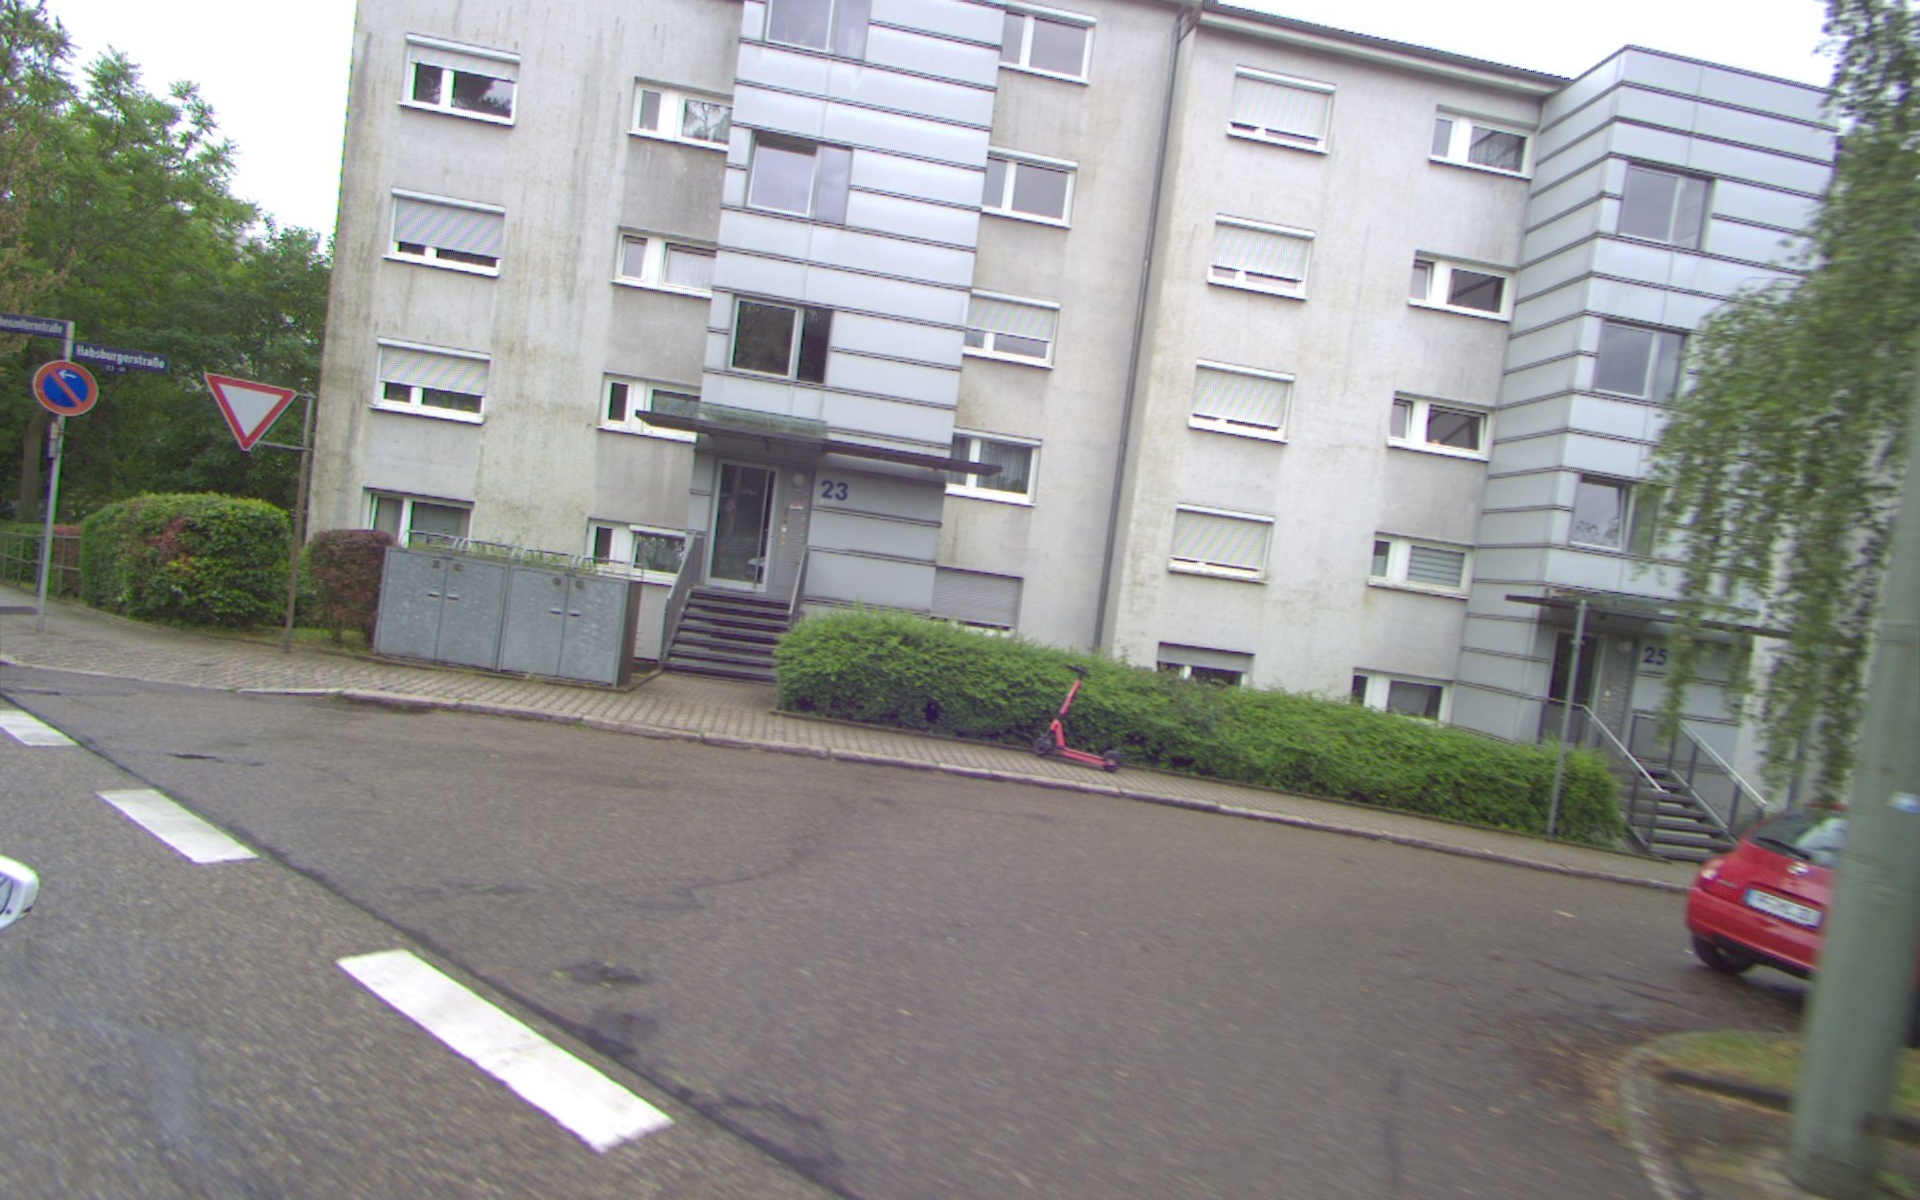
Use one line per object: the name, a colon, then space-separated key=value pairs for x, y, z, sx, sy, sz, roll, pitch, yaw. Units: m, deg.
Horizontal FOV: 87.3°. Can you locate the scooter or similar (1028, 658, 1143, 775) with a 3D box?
scooter or similar: x=1.563 y=1.452 z=12.632 sx=1.183 sy=1.200 sz=0.496 roll=11 pitch=4 yaw=-1

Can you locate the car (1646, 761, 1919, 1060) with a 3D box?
car: x=7.338 y=2.401 z=7.324 sx=3.513 sy=1.540 sz=1.642 roll=12 pitch=0 yaw=-8
